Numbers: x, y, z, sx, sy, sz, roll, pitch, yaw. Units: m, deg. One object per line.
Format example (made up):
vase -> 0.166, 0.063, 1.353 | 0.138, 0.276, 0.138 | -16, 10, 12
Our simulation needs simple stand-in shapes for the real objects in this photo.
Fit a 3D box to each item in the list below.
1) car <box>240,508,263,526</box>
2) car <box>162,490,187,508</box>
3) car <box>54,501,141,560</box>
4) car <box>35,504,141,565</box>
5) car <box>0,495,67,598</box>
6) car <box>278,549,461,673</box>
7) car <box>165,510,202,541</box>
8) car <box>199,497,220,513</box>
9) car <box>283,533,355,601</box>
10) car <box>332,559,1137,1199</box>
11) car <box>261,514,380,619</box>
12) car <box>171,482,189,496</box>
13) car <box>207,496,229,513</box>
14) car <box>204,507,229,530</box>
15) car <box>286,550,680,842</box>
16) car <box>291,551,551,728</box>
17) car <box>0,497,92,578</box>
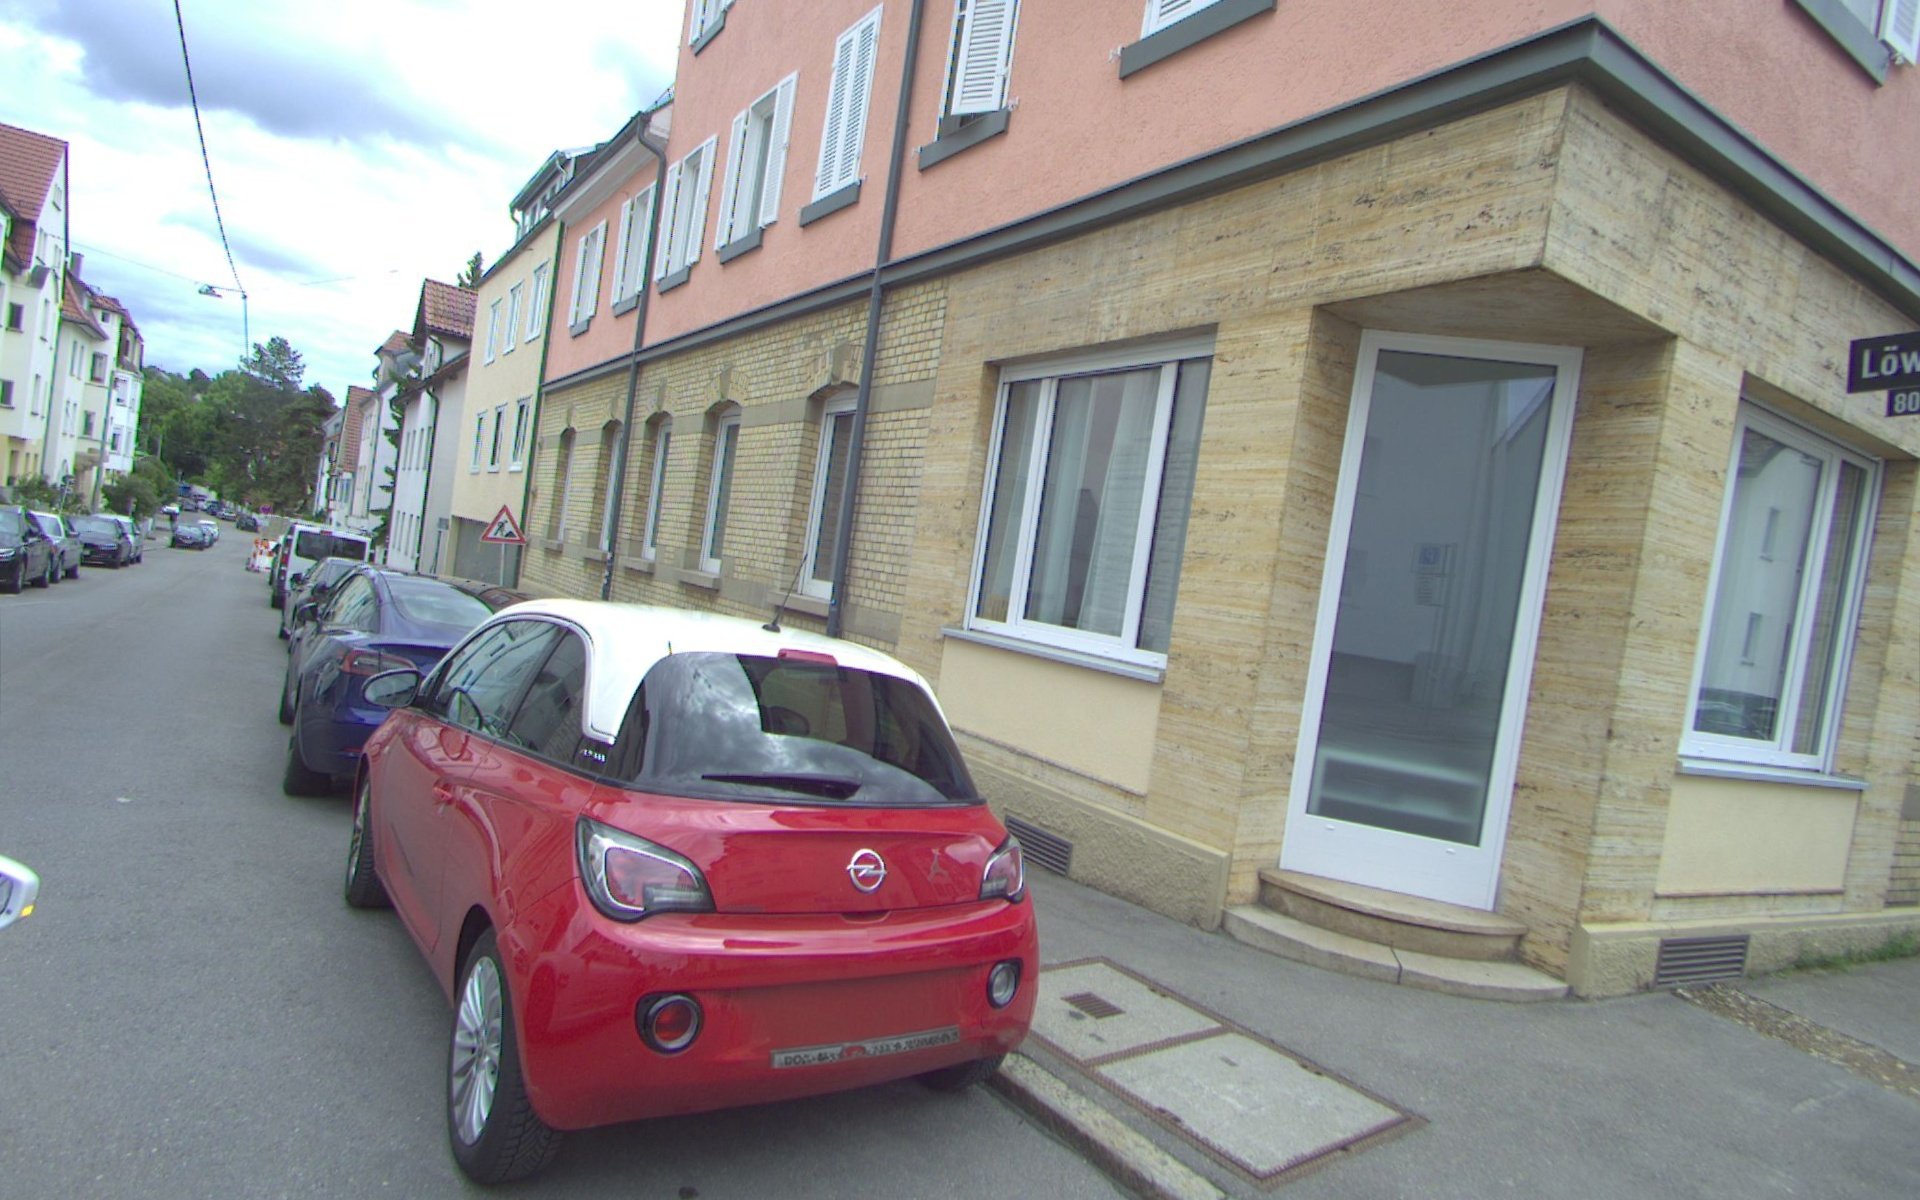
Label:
car -> -82.714, -9.676, 117.505 | 1.630, 1.502, 3.485 | 10, 2, -43
car -> -93.806, -12.048, 120.127 | 3.808, 1.678, 1.669 | 11, 3, 42
car -> -29.796, -2.429, 34.871 | 1.836, 1.650, 4.243 | 8, -1, -37
car -> -26.163, -1.943, 30.325 | 1.834, 1.475, 4.462 | 7, -1, -35
car -> -16.837, -1.059, 17.160 | 1.886, 1.545, 4.425 | 8, -1, -37
car -> -9.251, 0.095, 15.561 | 1.844, 1.419, 4.531 | 10, -3, -36
car -> -54.281, -5.187, 70.338 | 1.836, 1.837, 4.497 | 7, 0, -38
car -> -95.435, -12.076, 127.946 | 1.631, 1.502, 3.483 | 10, 2, -44
car -> -18.381, -0.971, 28.799 | 1.479, 1.614, 2.765 | 10, -2, -34
car -> -1.271, 0.764, 4.004 | 1.659, 1.497, 3.589 | 8, -1, -37
car -> -15.911, -0.919, 24.867 | 1.897, 2.053, 5.676 | 10, -2, -36
car -> -113.780, -16.193, 146.691 | 1.631, 1.556, 3.483 | 10, 2, -44
car -> -92.103, -11.822, 124.806 | 1.631, 1.502, 3.483 | 10, 2, -44
car -> -69.559, -7.643, 94.169 | 1.663, 1.678, 3.822 | 7, 3, -36
car -> -3.802, 0.542, 7.524 | 1.843, 1.419, 4.251 | 10, -2, -35
car -> -6.312, 0.370, 11.545 | 1.845, 1.419, 3.924 | 10, -2, -38
car -> -20.395, -1.430, 21.847 | 1.836, 1.430, 5.010 | 8, -1, -37
